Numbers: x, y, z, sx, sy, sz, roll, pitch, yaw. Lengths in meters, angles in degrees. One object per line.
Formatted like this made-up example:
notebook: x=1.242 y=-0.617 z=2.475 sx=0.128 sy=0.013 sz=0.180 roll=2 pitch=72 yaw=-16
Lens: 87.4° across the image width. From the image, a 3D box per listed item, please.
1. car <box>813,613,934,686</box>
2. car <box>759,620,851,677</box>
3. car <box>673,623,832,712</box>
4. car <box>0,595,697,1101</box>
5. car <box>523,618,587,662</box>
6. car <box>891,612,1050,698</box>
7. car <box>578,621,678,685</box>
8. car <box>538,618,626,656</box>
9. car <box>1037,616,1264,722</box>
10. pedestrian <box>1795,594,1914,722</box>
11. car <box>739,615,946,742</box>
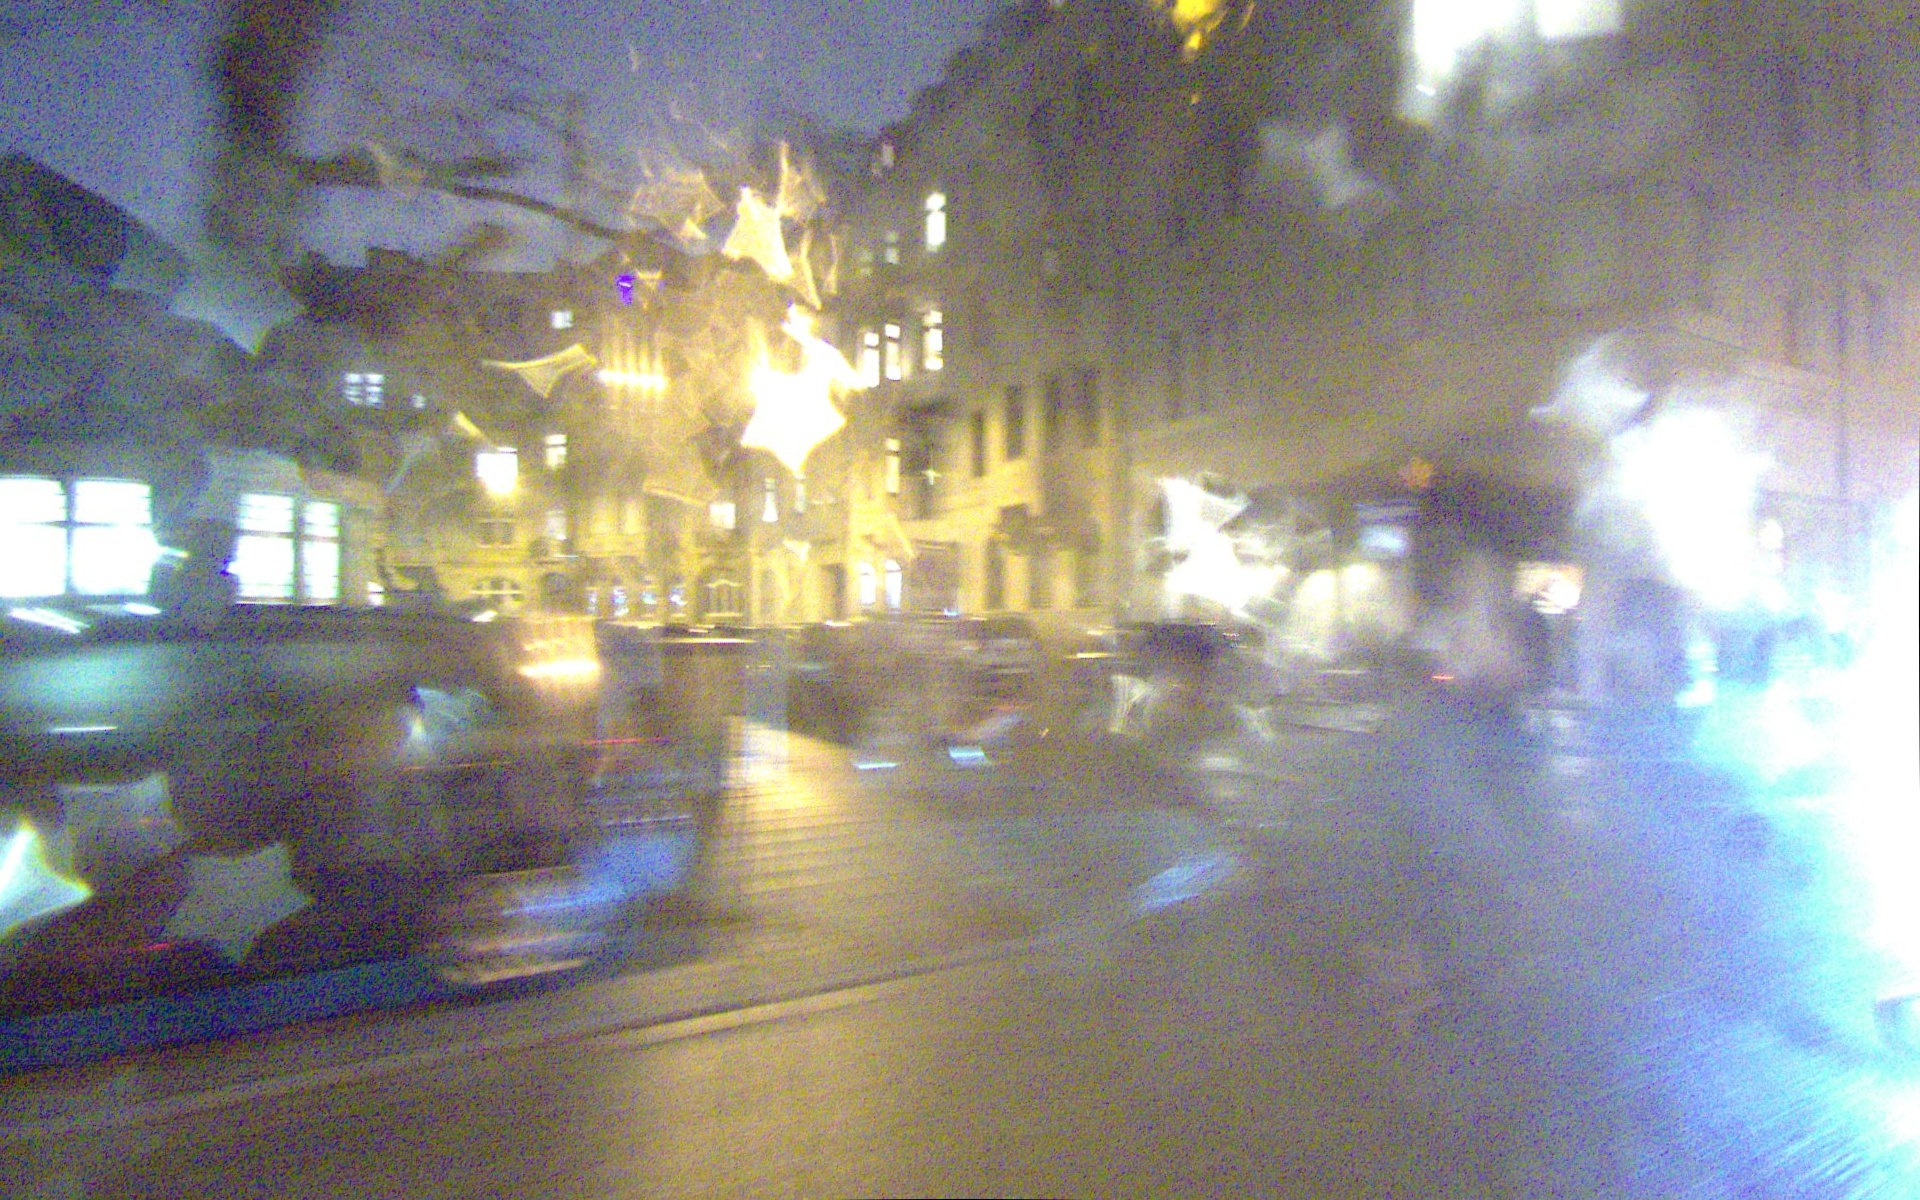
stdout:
car: x=-2.443 y=1.311 z=27.468 sx=1.863 sy=1.836 sz=3.970 roll=0 pitch=-2 yaw=-29
car: x=-4.993 y=1.500 z=31.924 sx=1.710 sy=1.692 sz=3.765 roll=0 pitch=-2 yaw=-29
car: x=-4.038 y=1.207 z=19.069 sx=1.832 sy=1.468 sz=3.970 roll=0 pitch=-2 yaw=-29
car: x=-2.946 y=0.730 z=3.762 sx=3.521 sy=1.462 sz=1.538 roll=0 pitch=1 yaw=-31
car: x=-16.687 y=1.601 z=41.314 sx=1.834 sy=1.629 sz=3.966 roll=0 pitch=0 yaw=-31
car: x=0.130 y=1.136 z=22.491 sx=1.863 sy=1.703 sz=3.969 roll=0 pitch=0 yaw=-29
car: x=-9.602 y=1.448 z=28.858 sx=1.834 sy=1.629 sz=3.964 roll=0 pitch=0 yaw=-32
car: x=-18.297 y=1.749 z=48.567 sx=4.018 sy=1.692 sz=1.819 roll=0 pitch=0 yaw=29
car: x=3.160 y=1.090 z=17.466 sx=1.769 sy=1.559 sz=3.969 roll=0 pitch=0 yaw=-29
pedestrian: x=13.156 y=0.819 z=14.795 sx=0.778 sy=1.806 sz=1.127 roll=0 pitch=0 yaw=-29
car: x=-1.866 y=1.034 z=14.776 sx=1.696 sy=1.592 sz=3.916 roll=0 pitch=-1 yaw=-29
